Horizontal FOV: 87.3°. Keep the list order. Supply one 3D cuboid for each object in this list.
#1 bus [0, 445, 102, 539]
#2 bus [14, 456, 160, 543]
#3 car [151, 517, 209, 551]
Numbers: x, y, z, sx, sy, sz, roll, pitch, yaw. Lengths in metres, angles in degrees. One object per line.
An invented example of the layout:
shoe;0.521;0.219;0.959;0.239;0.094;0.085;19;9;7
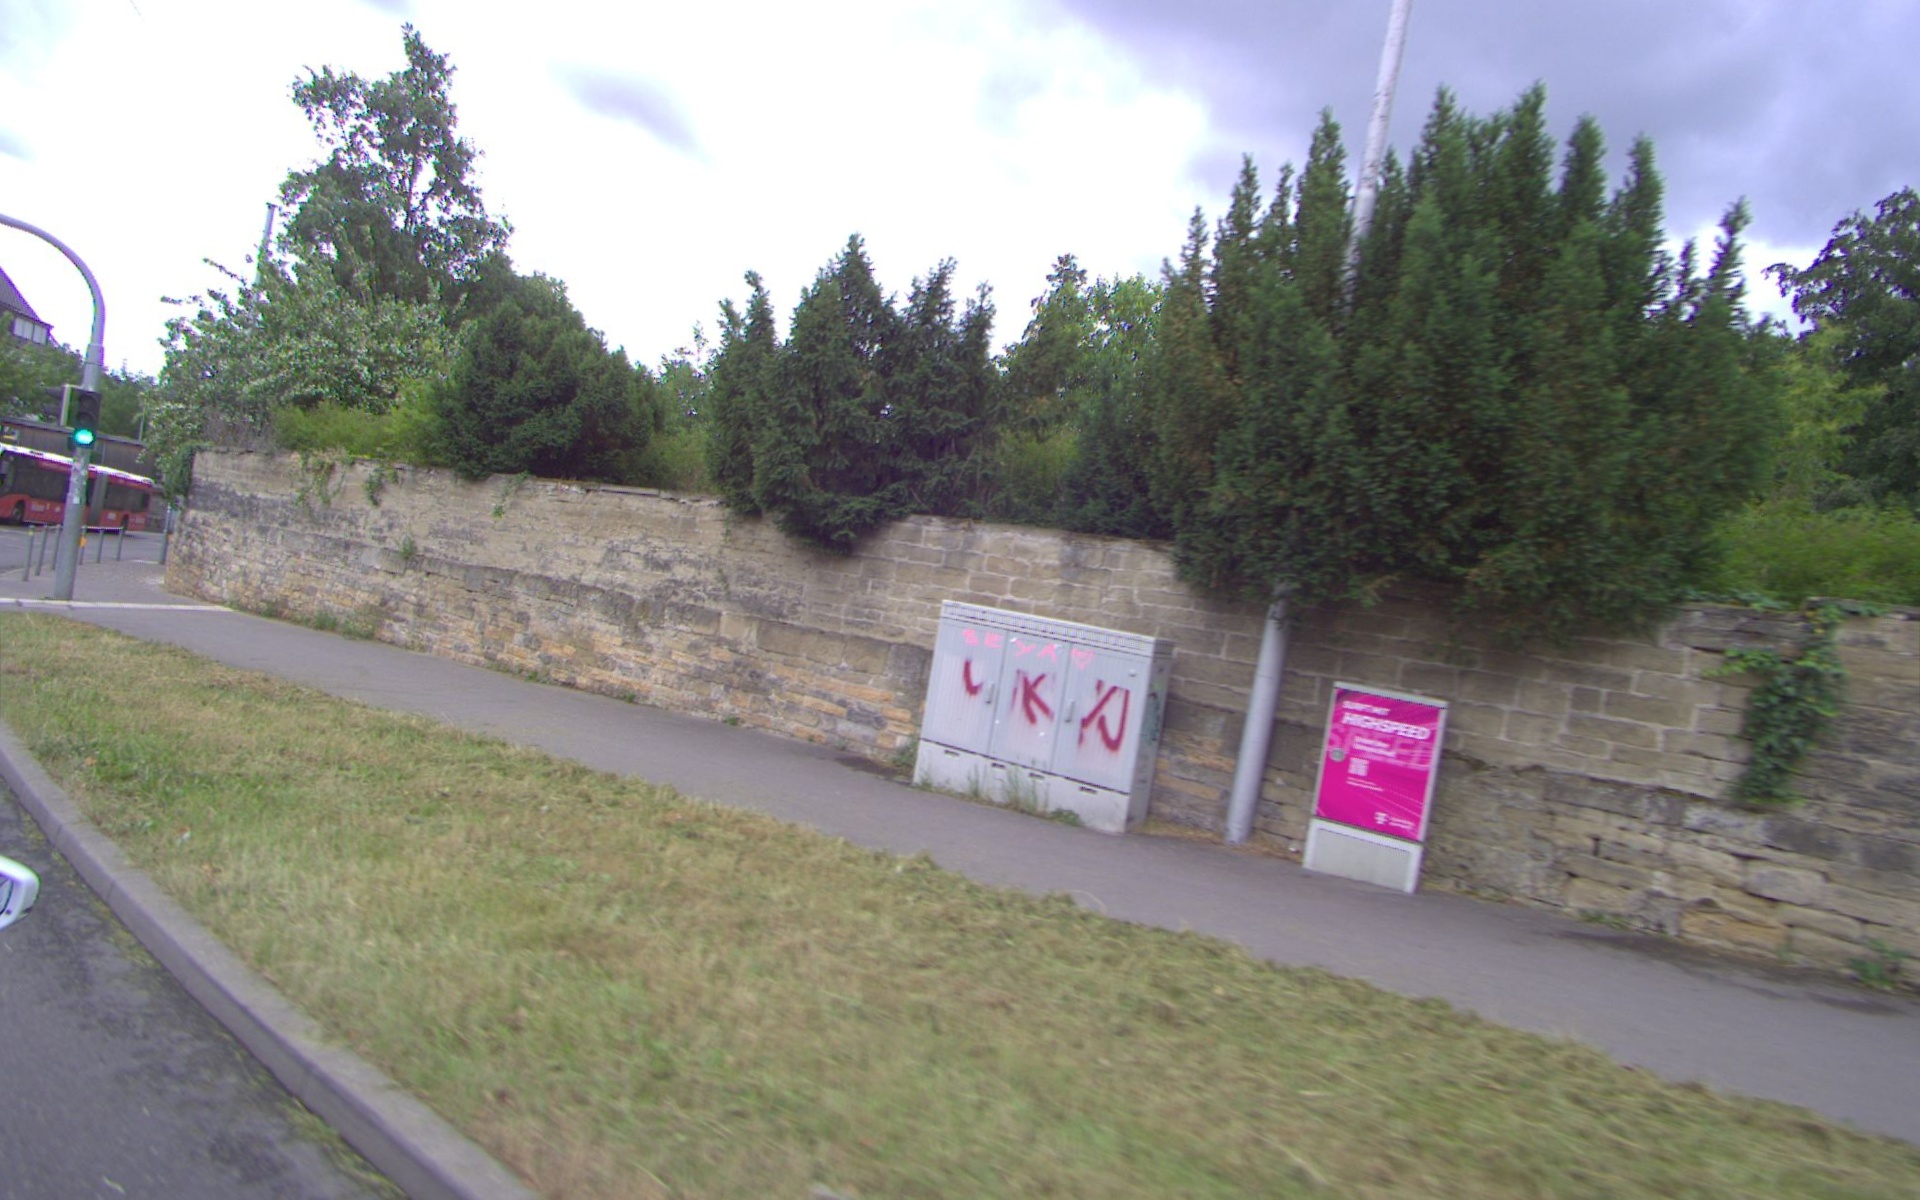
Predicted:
bus;-38.447;-4.461;40.667;2.636;3.154;9.962;11;-3;-24
bus;-42.200;-4.696;48.990;2.636;3.154;8.246;11;-3;-24
car;-50.128;-4.219;64.725;1.908;1.647;4.494;11;-4;-27
